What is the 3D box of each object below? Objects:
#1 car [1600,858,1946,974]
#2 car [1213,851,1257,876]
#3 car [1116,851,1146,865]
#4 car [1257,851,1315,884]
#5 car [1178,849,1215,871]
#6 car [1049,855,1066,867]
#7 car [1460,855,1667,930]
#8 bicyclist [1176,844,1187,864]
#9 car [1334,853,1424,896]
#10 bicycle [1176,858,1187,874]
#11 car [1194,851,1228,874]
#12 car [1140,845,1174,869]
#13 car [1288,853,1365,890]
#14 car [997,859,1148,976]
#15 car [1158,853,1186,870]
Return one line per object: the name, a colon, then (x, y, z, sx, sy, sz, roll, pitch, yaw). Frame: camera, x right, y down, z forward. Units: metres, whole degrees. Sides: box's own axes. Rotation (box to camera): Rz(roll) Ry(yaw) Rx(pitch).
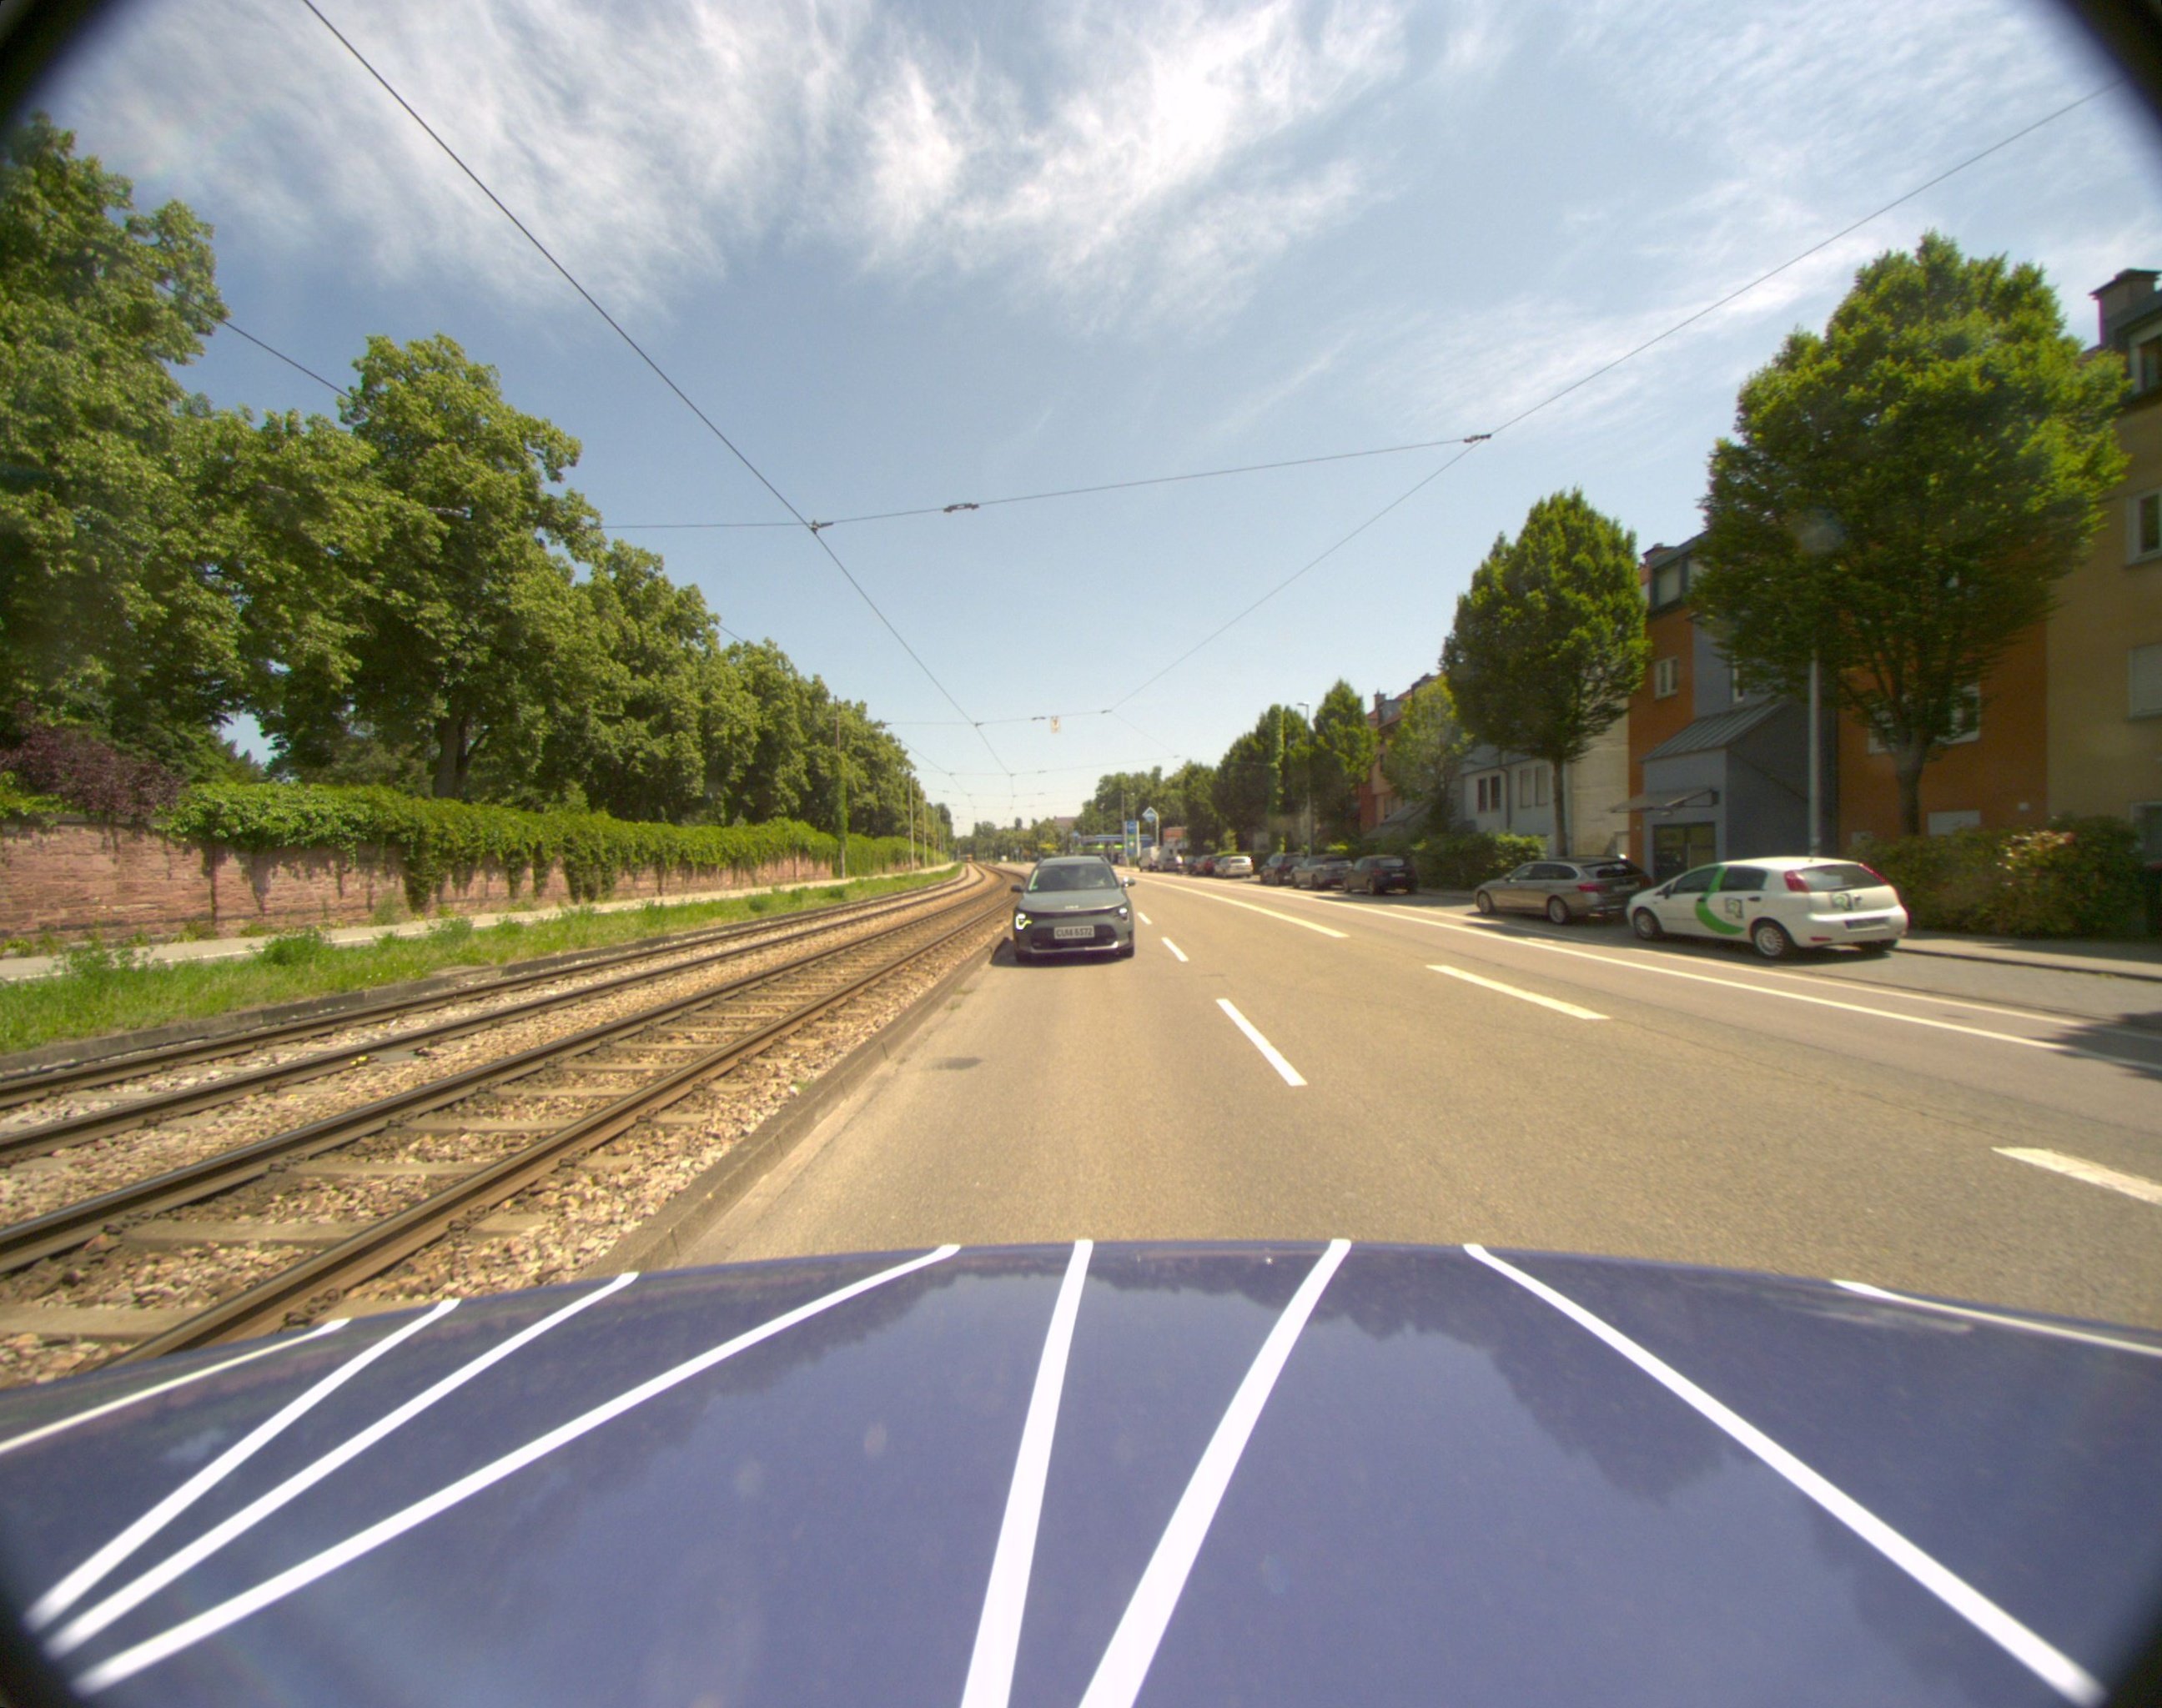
car: (11.203, 0.885, 12.858, 1.750, 1.434, 4.420, -6, 0, 1)
car: (10.412, 0.641, 51.802, 1.845, 1.573, 4.495, -3, 0, -2)
car: (8.388, 0.655, 127.931, 1.994, 2.085, 5.384, -2, 2, 44)
car: (10.848, 0.693, 40.479, 1.772, 1.579, 4.147, -3, 0, -3)
car: (9.517, 0.475, 62.905, 1.999, 1.783, 4.556, -1, 0, -5)
car: (-2.873, 0.848, 92.837, 1.696, 1.403, 3.513, -2, 0, -7)
car: (11.331, 0.814, 18.330, 1.708, 1.421, 4.750, -6, 0, -2)
bicyclist: (7.534, 0.008, 57.053, 0.737, 1.496, 0.737, 1, 2, 1)
car: (11.395, 0.742, 29.366, 1.754, 1.424, 4.257, -3, 0, 0)
bicycle: (7.532, 0.900, 57.102, 0.641, 1.089, 1.638, 1, 1, 1)
car: (9.826, 0.659, 57.696, 1.604, 1.584, 3.680, -3, 0, -5)
car: (7.723, 0.296, 77.845, 2.285, 2.294, 5.226, -3, 0, -8)
car: (11.085, 0.735, 34.657, 1.830, 1.487, 4.756, -3, 0, -1)
car: (-0.062, 0.911, 12.641, 2.062, 1.534, 4.000, -2, 0, 2)
car: (8.565, 0.691, 71.858, 1.870, 1.528, 4.142, -3, 0, -4)
